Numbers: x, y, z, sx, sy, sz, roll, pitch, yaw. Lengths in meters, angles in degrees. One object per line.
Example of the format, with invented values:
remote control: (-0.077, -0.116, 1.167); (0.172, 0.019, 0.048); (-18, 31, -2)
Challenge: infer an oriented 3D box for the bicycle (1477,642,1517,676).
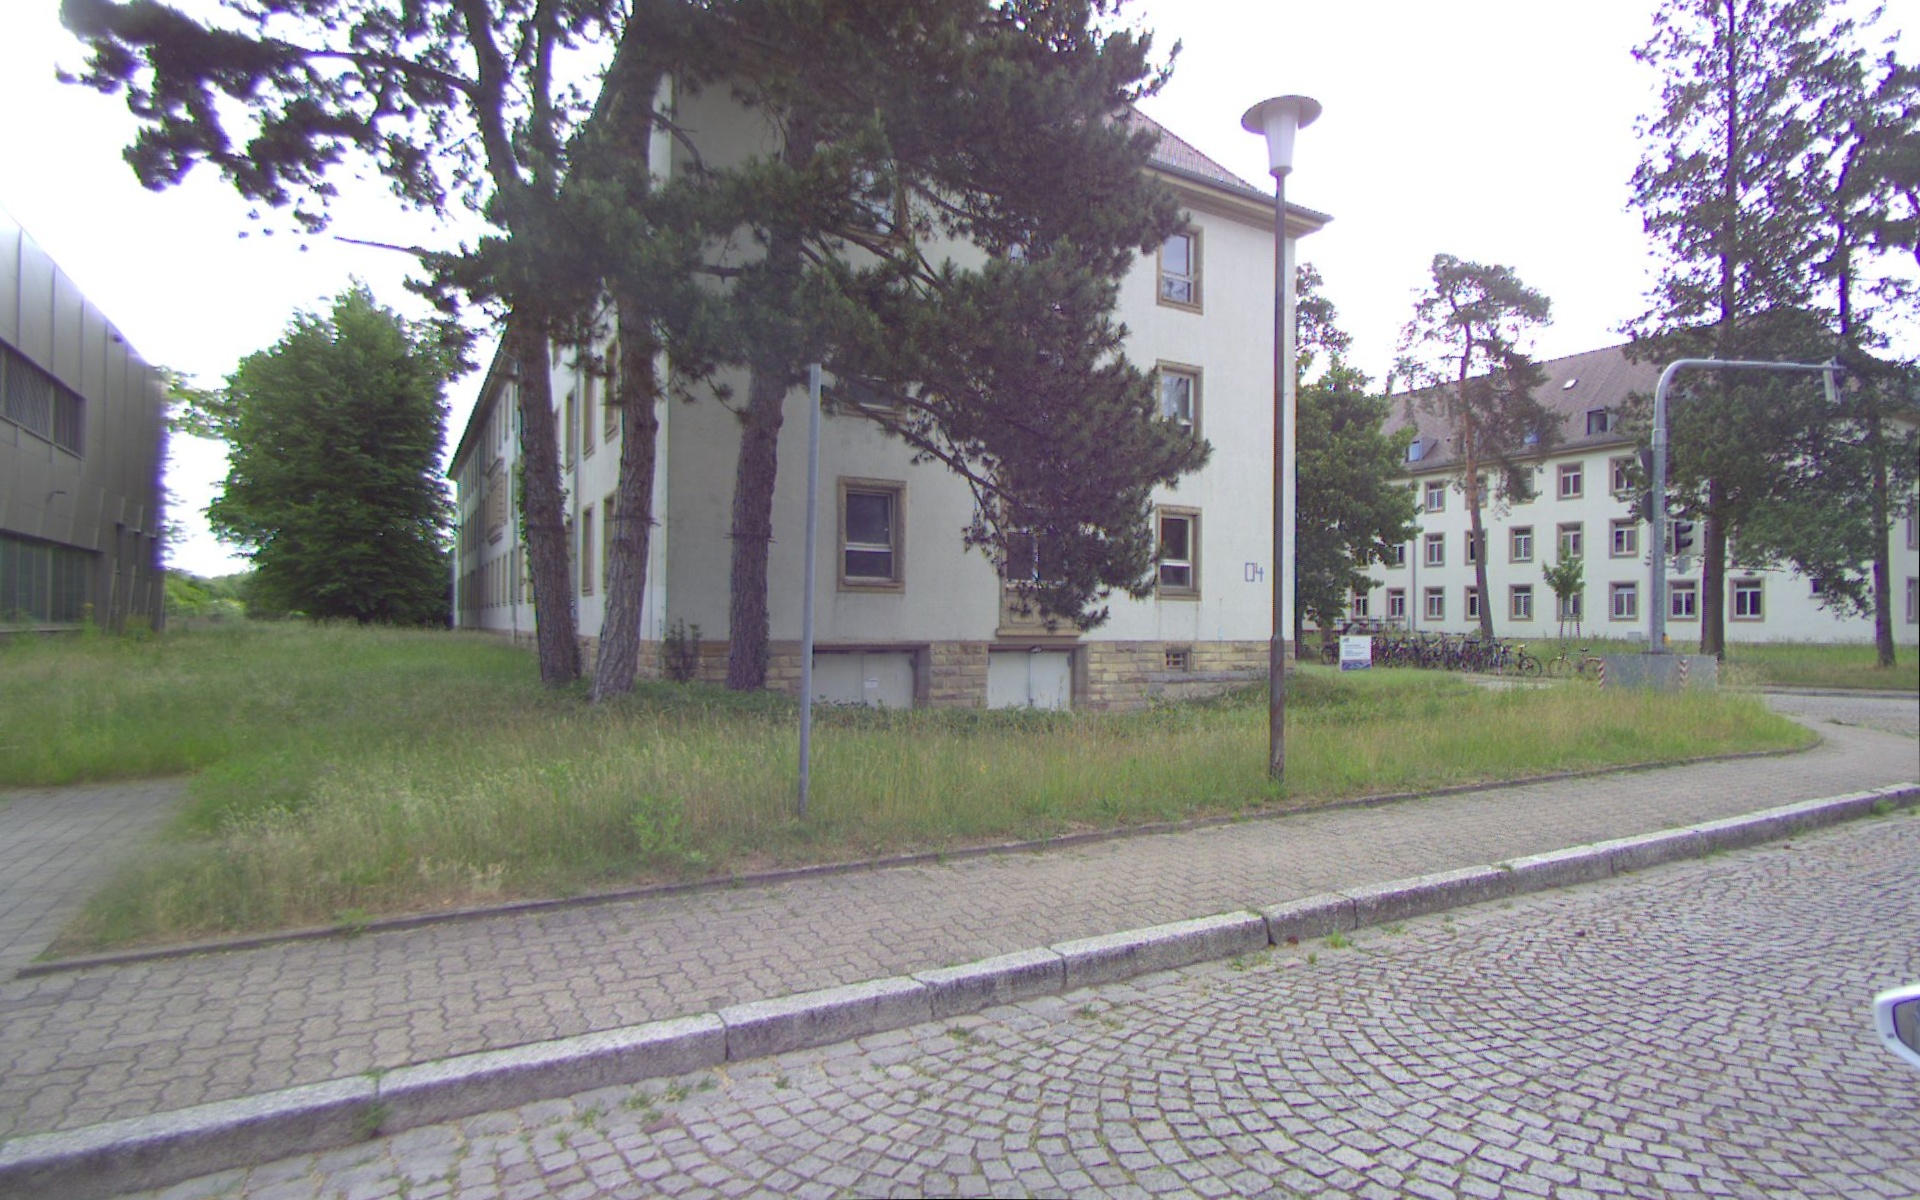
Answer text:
bicycle: (18.104, 1.981, 33.876); (1.568, 1.093, 0.511); (2, -2, -33)

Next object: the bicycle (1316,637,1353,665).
bicycle: (14.768, 1.999, 39.625); (1.567, 1.093, 0.512); (1, -2, -30)

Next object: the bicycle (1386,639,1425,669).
bicycle: (16.343, 1.979, 36.832); (1.567, 1.093, 0.512); (1, -2, -30)

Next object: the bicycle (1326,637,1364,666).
bicycle: (15.024, 2.004, 39.195); (1.567, 1.093, 0.512); (1, -2, -30)

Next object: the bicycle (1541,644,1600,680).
bicycle: (18.586, 1.876, 30.607); (0.510, 1.079, 1.457); (1, -2, -31)

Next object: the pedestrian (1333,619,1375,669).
pedestrian: (14.906, 1.651, 38.042); (1.135, 1.812, 1.064); (-1, -1, -2)

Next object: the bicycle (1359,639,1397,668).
bicycle: (15.752, 2.013, 37.852); (1.567, 1.093, 0.512); (1, -2, -30)

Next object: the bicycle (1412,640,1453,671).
bicycle: (16.899, 1.966, 35.915); (1.567, 1.093, 0.512); (1, -2, -30)

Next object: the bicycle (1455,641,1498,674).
bicycle: (17.695, 1.972, 34.418); (1.565, 1.093, 0.512); (1, -2, -28)

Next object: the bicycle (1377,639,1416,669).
bicycle: (16.146, 2.005, 37.162); (1.567, 1.093, 0.512); (1, -2, -30)

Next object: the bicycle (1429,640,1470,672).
bicycle: (17.250, 1.962, 35.392); (1.567, 1.093, 0.512); (1, -2, -30)

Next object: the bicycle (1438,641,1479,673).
bicycle: (17.425, 1.966, 35.076); (1.567, 1.093, 0.512); (1, -2, -30)

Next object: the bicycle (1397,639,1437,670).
bicycle: (16.573, 1.981, 36.444); (1.567, 1.093, 0.512); (1, -2, -30)

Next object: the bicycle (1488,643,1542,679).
bicycle: (17.635, 1.930, 31.940); (0.510, 1.093, 1.457); (1, -2, -31)
